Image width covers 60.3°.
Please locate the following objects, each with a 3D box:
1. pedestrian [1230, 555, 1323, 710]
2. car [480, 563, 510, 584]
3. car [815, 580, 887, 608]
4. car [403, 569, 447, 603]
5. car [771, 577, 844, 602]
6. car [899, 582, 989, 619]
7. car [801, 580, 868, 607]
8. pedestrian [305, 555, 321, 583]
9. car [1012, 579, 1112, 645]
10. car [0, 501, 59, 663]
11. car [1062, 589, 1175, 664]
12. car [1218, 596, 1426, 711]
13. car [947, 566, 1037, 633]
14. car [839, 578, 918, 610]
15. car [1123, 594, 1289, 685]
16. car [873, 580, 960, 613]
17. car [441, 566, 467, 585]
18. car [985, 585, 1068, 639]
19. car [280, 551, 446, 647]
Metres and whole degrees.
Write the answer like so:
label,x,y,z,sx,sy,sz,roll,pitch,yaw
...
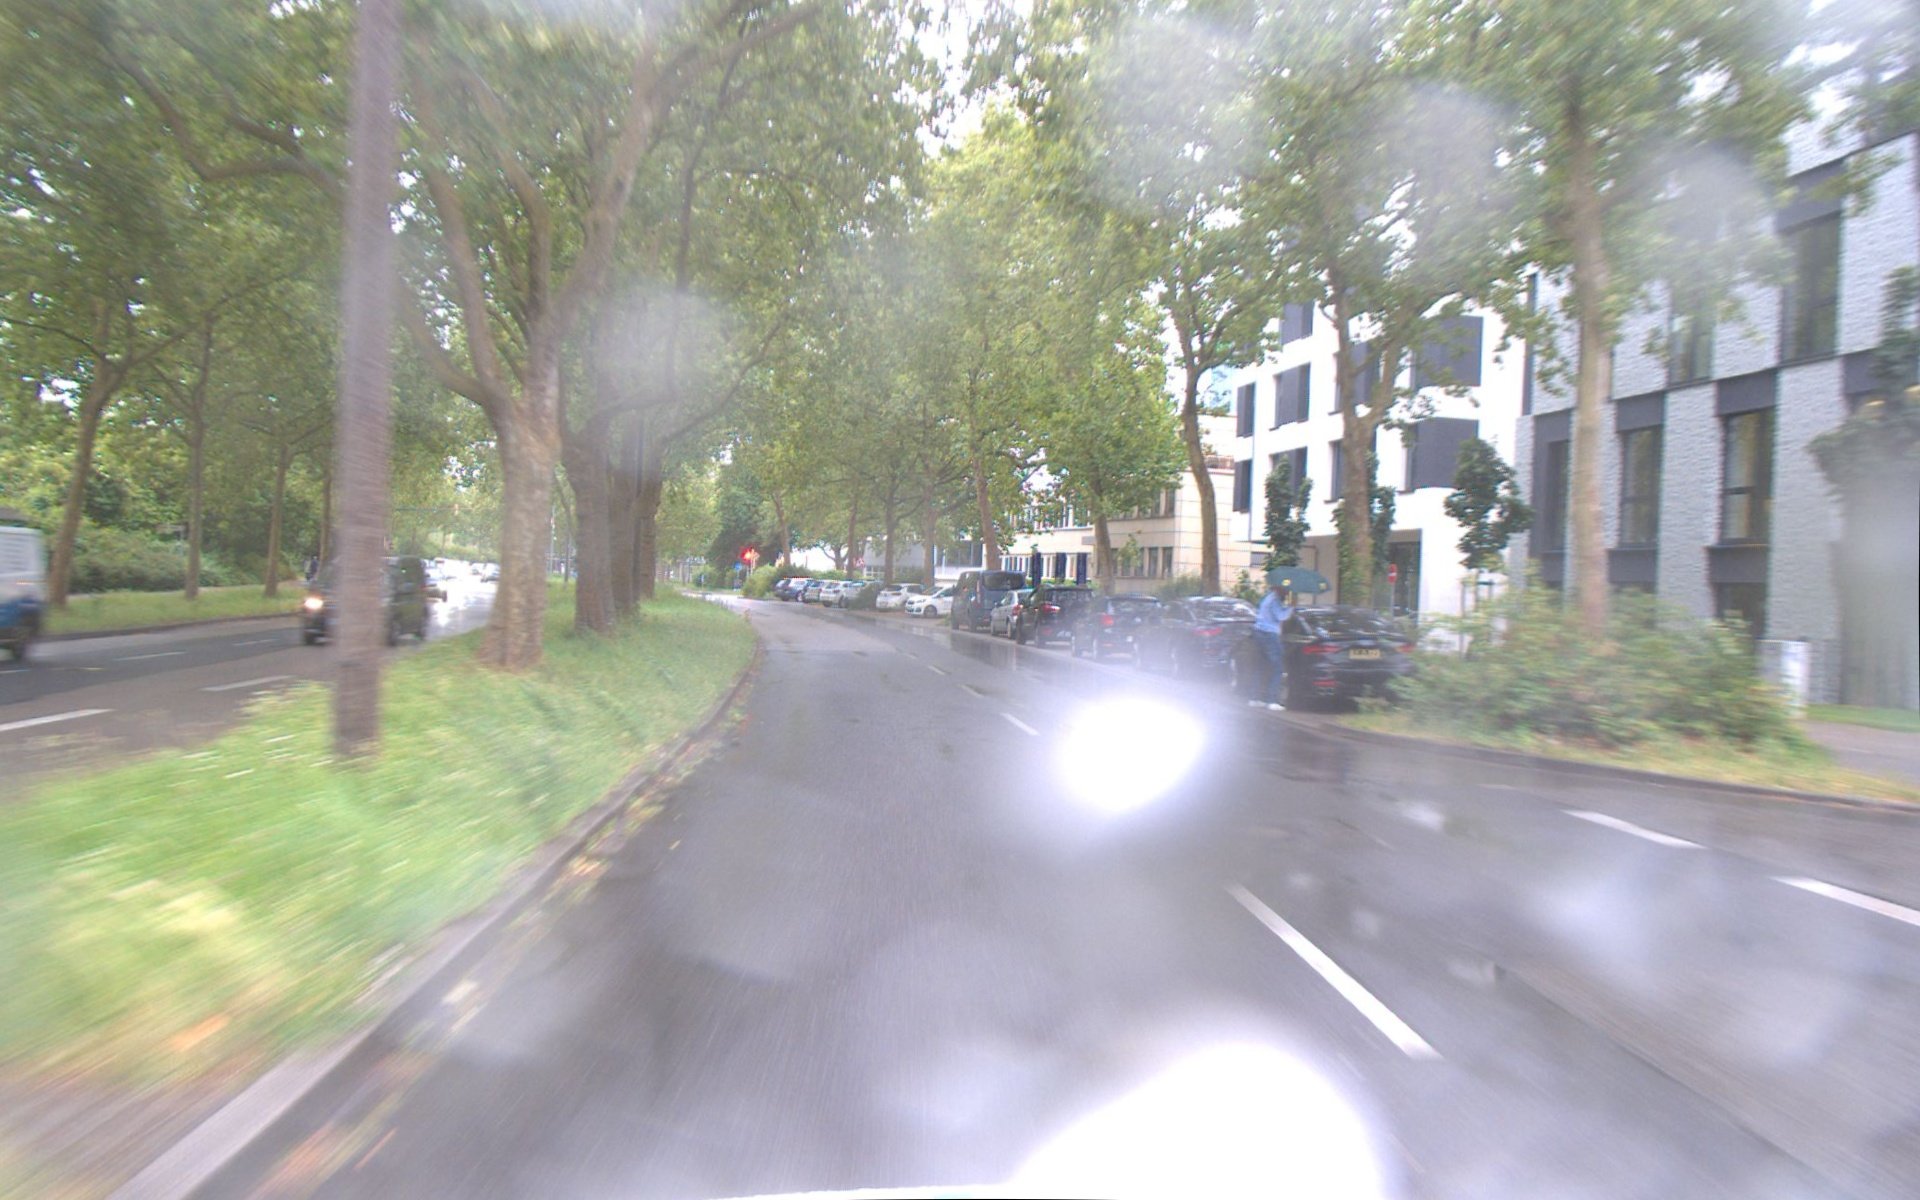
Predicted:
label,x,y,z,sx,sy,sz,roll,pitch,yaw
pedestrian,4.307,0.428,22.524,0.892,2.049,0.820,2,0,-43
car,-38.847,-2.241,138.012,1.721,1.679,4.273,2,0,-25
car,-6.024,-0.319,91.611,3.659,1.441,1.723,2,0,-41
car,-26.244,-0.710,81.168,1.714,1.588,4.352,2,0,-14
car,-9.723,-0.665,105.701,4.455,1.484,1.723,2,0,-41
car,-0.714,0.023,73.490,3.593,1.530,1.733,1,2,-28
car,-7.353,-0.394,96.979,3.665,1.441,1.747,2,0,-45
pedestrian,-40.331,-1.945,103.075,0.818,1.703,0.895,2,0,-20
car,2.617,0.276,43.547,1.711,1.594,4.363,2,0,-9
car,-14.328,-0.274,22.369,1.993,2.265,5.423,2,0,-9
car,3.441,0.540,36.596,1.710,1.502,4.078,2,0,-6
car,5.112,0.694,24.049,1.709,1.453,4.856,0,0,-3
car,1.008,-0.034,55.580,2.082,2.063,5.517,2,0,-9
car,-4.266,-0.317,86.713,1.720,1.566,4.010,2,0,44
car,4.429,0.659,30.562,1.710,1.453,5.096,2,0,-7
car,-2.023,-0.158,77.588,4.007,1.453,1.721,2,0,-44
car,-42.036,-2.033,137.299,1.718,1.502,4.382,2,0,-21
car,1.968,0.332,50.335,1.711,1.495,4.297,2,0,-9
car,-12.145,-0.036,34.007,1.991,1.766,4.948,2,0,-6
